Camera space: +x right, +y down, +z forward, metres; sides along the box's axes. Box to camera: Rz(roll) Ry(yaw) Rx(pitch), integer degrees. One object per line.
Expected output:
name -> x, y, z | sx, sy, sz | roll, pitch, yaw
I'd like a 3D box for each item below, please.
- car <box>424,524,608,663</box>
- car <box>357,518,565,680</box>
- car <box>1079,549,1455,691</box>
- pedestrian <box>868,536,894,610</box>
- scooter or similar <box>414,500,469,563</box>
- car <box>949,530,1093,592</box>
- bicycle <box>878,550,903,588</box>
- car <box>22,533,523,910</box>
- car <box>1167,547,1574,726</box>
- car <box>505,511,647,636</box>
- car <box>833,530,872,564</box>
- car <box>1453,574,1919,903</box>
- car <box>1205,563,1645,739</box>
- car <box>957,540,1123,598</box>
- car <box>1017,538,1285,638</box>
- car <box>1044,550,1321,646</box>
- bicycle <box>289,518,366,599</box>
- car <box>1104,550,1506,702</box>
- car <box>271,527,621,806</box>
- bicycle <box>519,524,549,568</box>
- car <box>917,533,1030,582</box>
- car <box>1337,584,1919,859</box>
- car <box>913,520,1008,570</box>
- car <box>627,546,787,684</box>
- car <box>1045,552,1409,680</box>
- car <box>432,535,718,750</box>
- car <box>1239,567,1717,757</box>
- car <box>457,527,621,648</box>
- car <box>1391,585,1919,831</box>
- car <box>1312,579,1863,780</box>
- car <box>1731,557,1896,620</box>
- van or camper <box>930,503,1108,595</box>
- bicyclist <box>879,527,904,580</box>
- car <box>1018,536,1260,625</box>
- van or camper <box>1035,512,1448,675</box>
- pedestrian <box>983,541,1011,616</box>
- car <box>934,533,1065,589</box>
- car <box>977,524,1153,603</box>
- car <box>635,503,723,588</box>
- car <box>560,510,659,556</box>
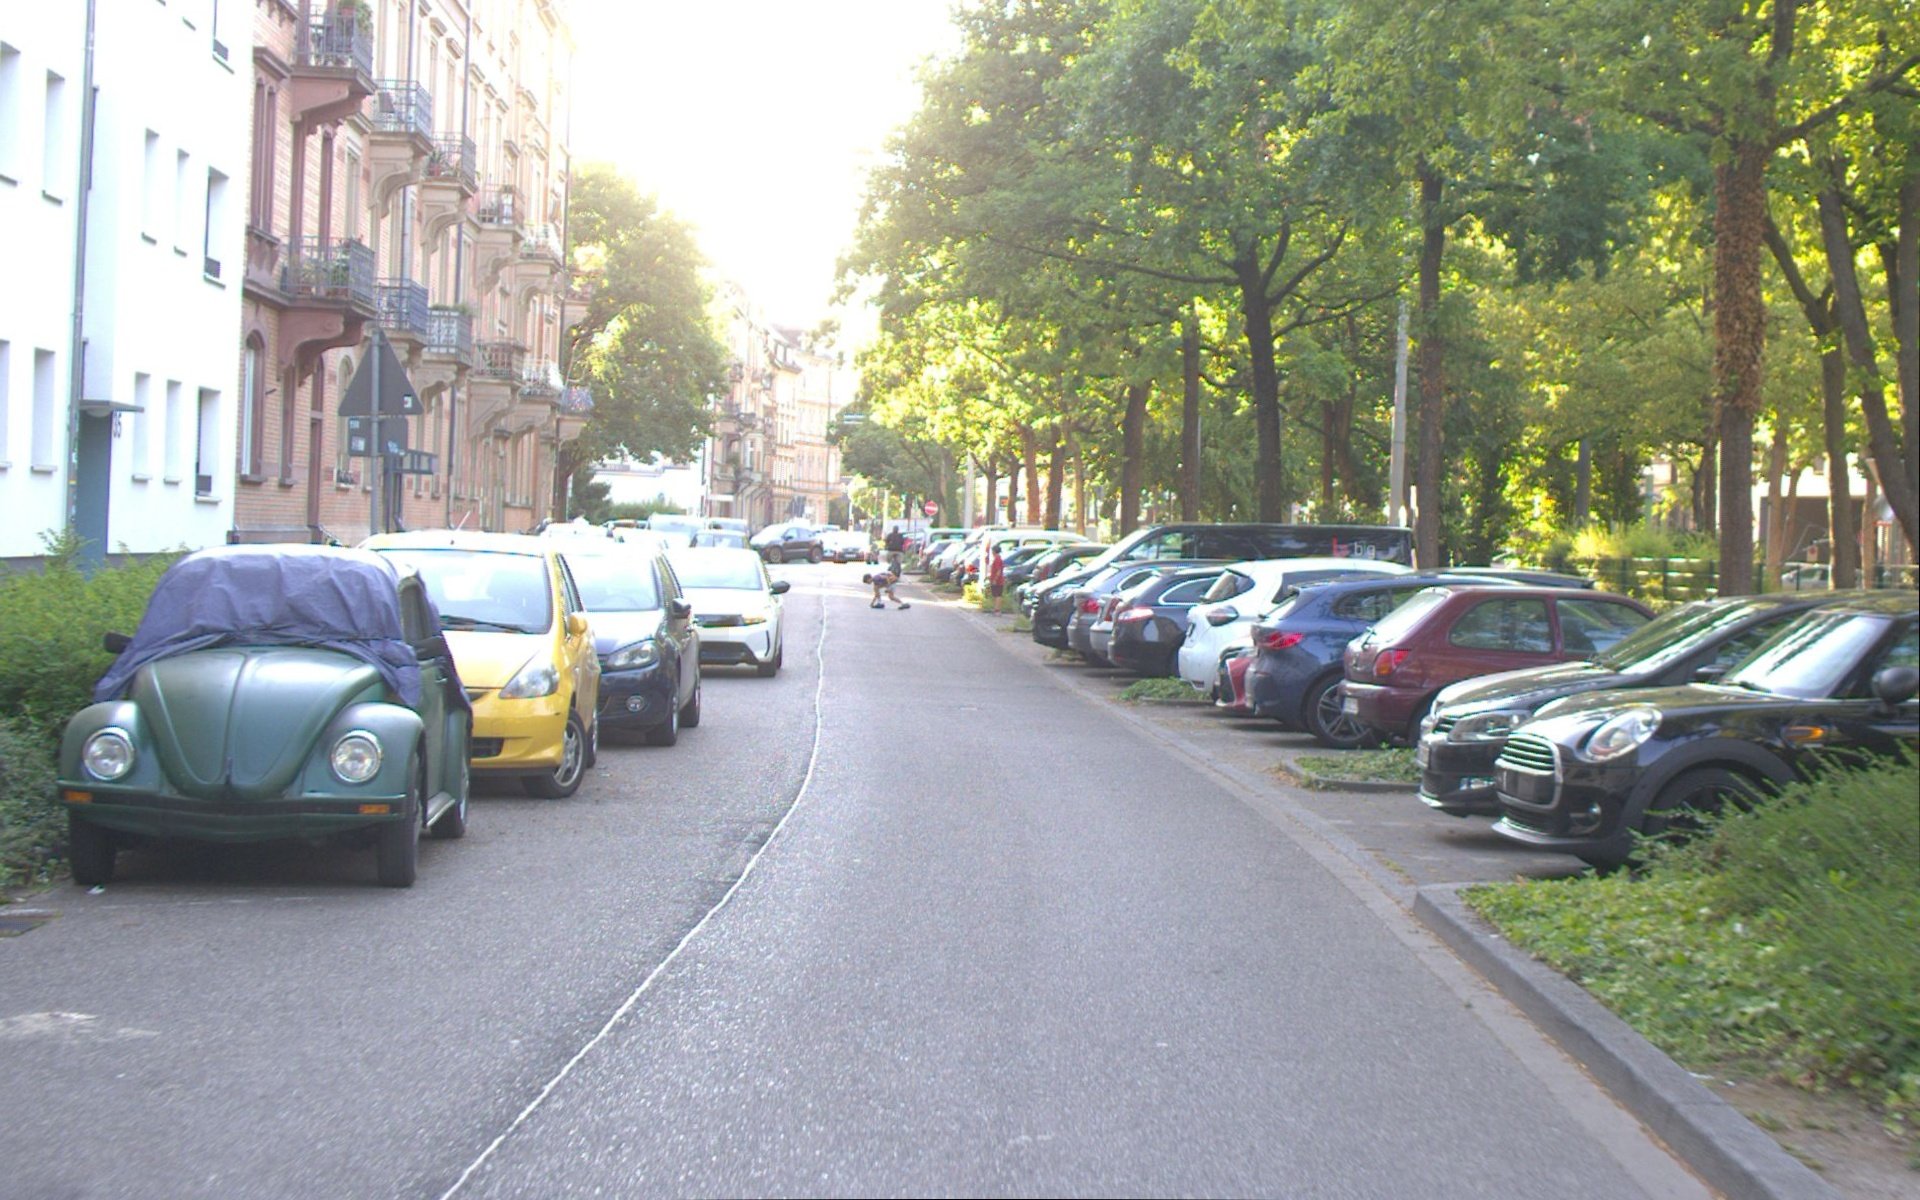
car -> -5.375, -0.111, 42.049 | 1.668, 1.466, 4.284 | 5, 1, -1
car -> -5.301, -0.050, 36.945 | 1.668, 1.503, 4.001 | 5, 1, -2
car -> 3.681, 0.241, 41.748 | 4.399, 1.572, 1.664 | 1, 0, 1
pedestrian -> -1.725, -0.599, 75.121 | 0.380, 1.579, 0.518 | 3, 3, 17
scooter or similar -> -10.980, -1.430, 72.811 | 0.783, 1.218, 2.704 | 3, -1, -2
car -> 1.714, -1.100, 97.146 | 3.987, 1.685, 1.859 | 1, 1, -1
bicycle -> -2.132, -0.930, 105.257 | 0.641, 1.096, 1.944 | 3, -1, -3
car -> -3.085, 0.474, 16.120 | 1.566, 1.512, 3.782 | 2, 1, 0
car -> 4.031, 0.358, 34.133 | 3.782, 1.640, 1.664 | 1, -1, -1
car -> -5.746, -0.428, 51.888 | 1.751, 1.700, 4.201 | 3, 1, -2
car -> -4.824, -2.369, 153.927 | 1.668, 1.459, 4.001 | 1, 1, -3
car -> 4.453, 0.667, 16.639 | 3.781, 1.467, 1.635 | 2, 0, -5
car -> 4.207, 0.461, 31.516 | 3.782, 1.468, 1.664 | 1, 0, 1
car -> 2.078, -0.806, 88.768 | 4.220, 1.448, 1.649 | 1, 1, 2
car -> 3.257, -0.205, 59.175 | 4.399, 1.585, 1.838 | 1, 0, -2
car -> 3.617, -0.046, 56.428 | 4.399, 1.435, 1.838 | 1, 0, 1
bicycle -> -10.067, -0.679, 54.803 | 0.737, 1.202, 2.514 | 3, 2, -1
car -> 3.856, 0.288, 38.870 | 4.400, 1.572, 1.664 | 1, 0, 3
car -> -3.088, 0.345, 21.289 | 1.702, 1.520, 3.774 | 2, 1, -2
bicycle -> -11.867, -1.490, 95.870 | 0.704, 1.143, 1.890 | 3, -1, -5
car -> 0.496, -1.579, 128.879 | 3.986, 1.558, 1.859 | 3, -1, -5
car -> 4.130, 0.668, 19.274 | 3.782, 1.397, 1.827 | 1, 0, -1
car -> 0.023, -2.516, 157.504 | 3.989, 2.007, 1.999 | 3, -1, 10
car -> -2.908, 0.133, 40.168 | 1.668, 1.426, 4.001 | 0, 2, -1
car -> 3.403, 0.208, 44.330 | 4.398, 1.496, 1.838 | 2, 0, -5
car -> -2.853, 0.263, 26.218 | 1.739, 1.474, 4.000 | 1, 1, -1
car -> 4.269, 0.508, 28.763 | 3.782, 1.442, 1.664 | 1, 0, 4
car -> -5.666, -0.202, 46.604 | 1.616, 1.447, 4.000 | 4, 1, 0
car -> 4.717, 0.665, 21.387 | 3.781, 1.397, 1.664 | 1, 0, -2
car -> 4.747, 0.600, 26.318 | 3.781, 1.397, 1.767 | 2, 0, -5
car -> 26.704, -0.359, 107.581 | 4.705, 1.678, 1.998 | 3, -1, 22
van or camper -> 1.716, -1.475, 101.288 | 4.981, 2.369, 2.185 | 3, -1, -4
bicyclist -> -2.098, -1.423, 105.223 | 0.627, 1.568, 0.802 | 3, -1, -3
car -> 3.433, -0.376, 66.559 | 4.398, 1.585, 1.838 | 1, 0, -6
van or camper -> 3.760, -0.117, 46.717 | 5.414, 2.020, 2.029 | 1, 2, 1
pedestrian -> 0.761, -0.448, 70.880 | 0.380, 1.511, 0.518 | 3, 3, 17
car -> 1.265, -1.256, 111.280 | 3.986, 1.543, 1.859 | 3, -1, -5
car -> 2.553, -0.905, 84.327 | 4.219, 1.857, 1.762 | 1, 1, -1
car -> -7.029, -1.339, 86.426 | 1.993, 1.914, 5.040 | 3, -1, -3
car -> -15.022, -2.868, 147.567 | 3.987, 1.700, 2.000 | 3, -1, -1
